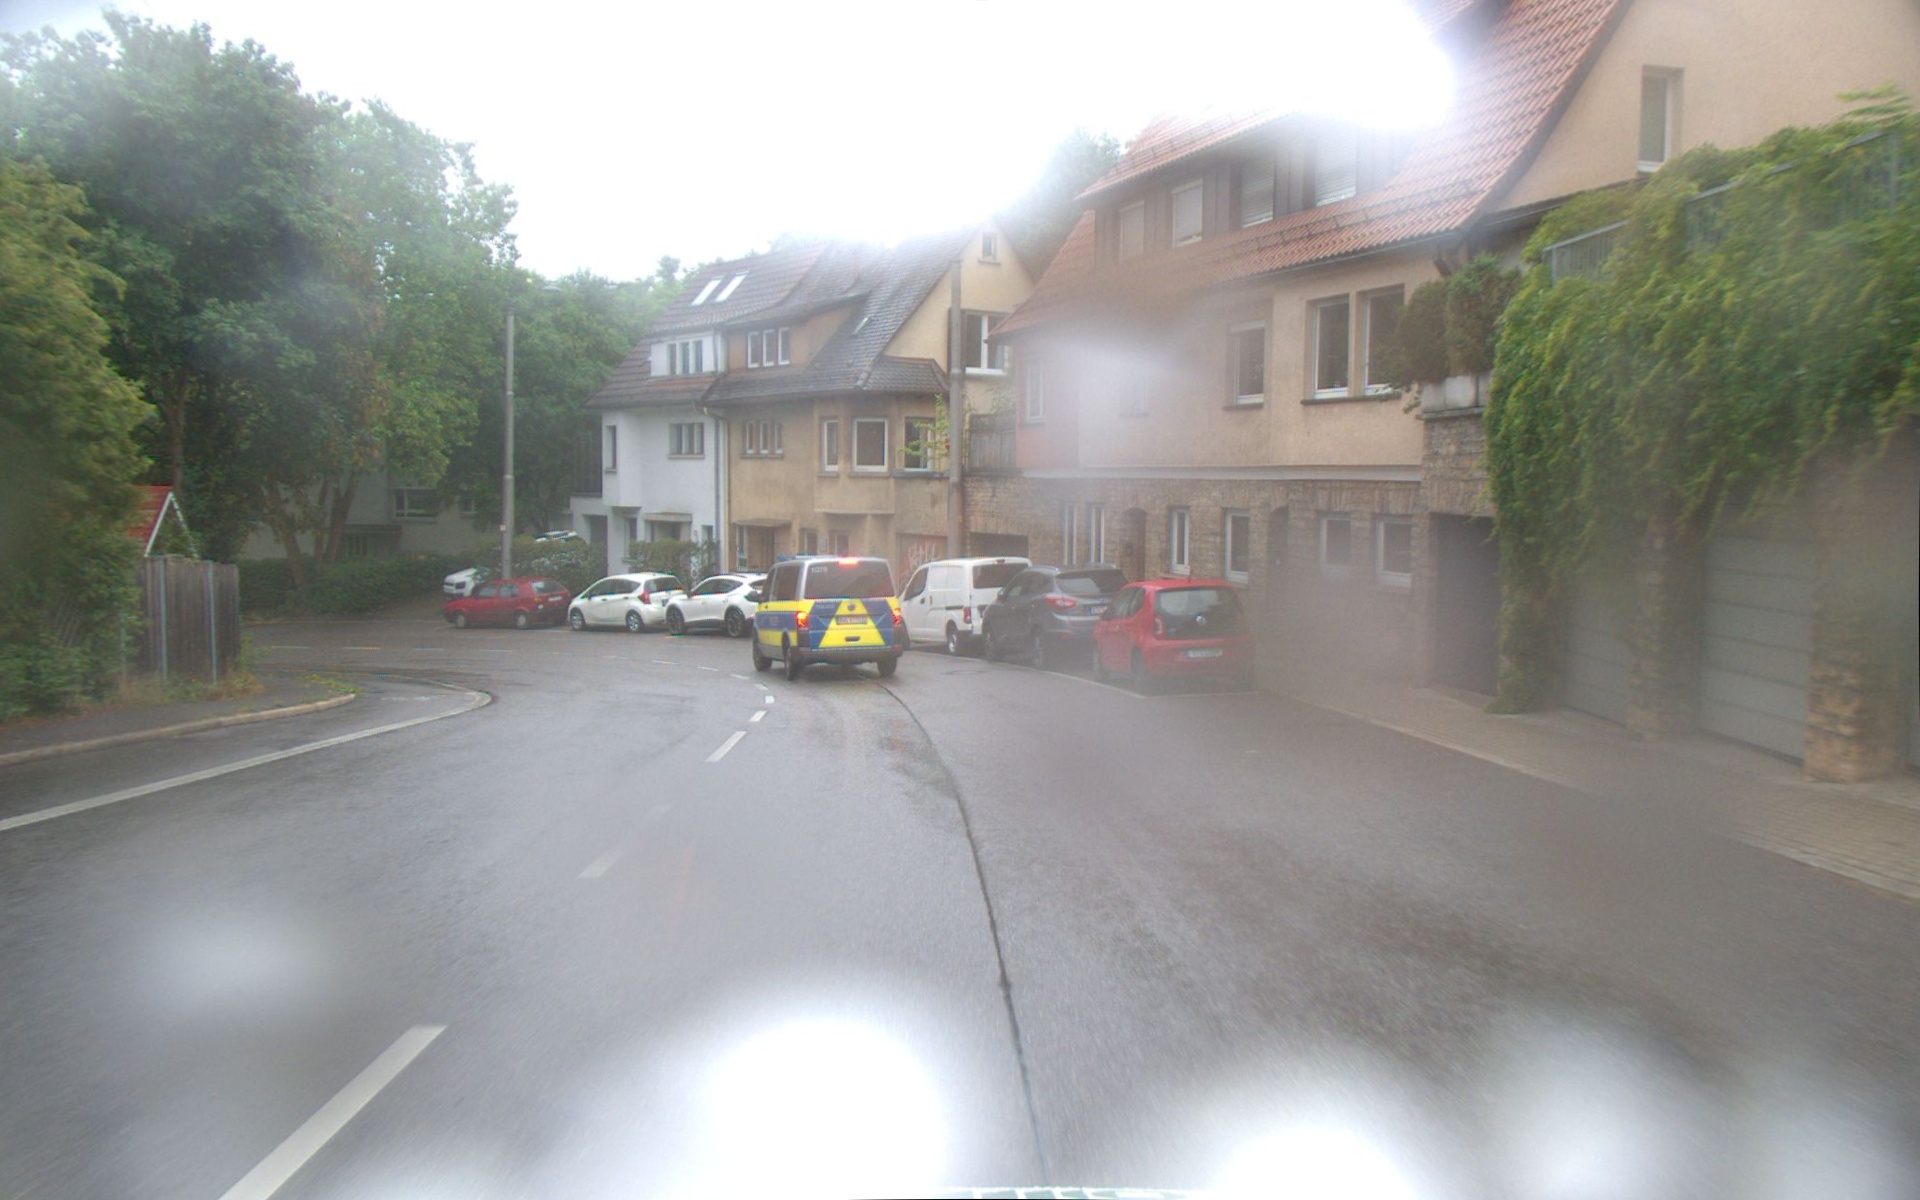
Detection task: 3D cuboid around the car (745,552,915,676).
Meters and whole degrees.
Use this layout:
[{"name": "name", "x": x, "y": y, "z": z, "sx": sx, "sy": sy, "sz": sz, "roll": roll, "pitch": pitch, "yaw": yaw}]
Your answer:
[{"name": "car", "x": -2.345, "y": 0.240, "z": 28.626, "sx": 1.962, "sy": 1.926, "sz": 4.548, "roll": -1, "pitch": 0, "yaw": -17}]

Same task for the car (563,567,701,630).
[{"name": "car", "x": -9.039, "y": -0.021, "z": 45.453, "sx": 3.754, "sy": 1.541, "sz": 1.761, "roll": -1, "pitch": 3, "yaw": 42}]

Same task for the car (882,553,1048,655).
[{"name": "car", "x": 0.013, "y": 0.023, "z": 33.349, "sx": 1.683, "sy": 1.821, "sz": 4.294, "roll": -5, "pitch": 3, "yaw": -24}]

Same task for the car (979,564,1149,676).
[{"name": "car", "x": 1.689, "y": 0.263, "z": 28.426, "sx": 1.588, "sy": 1.632, "sz": 4.396, "roll": -4, "pitch": 3, "yaw": -14}]

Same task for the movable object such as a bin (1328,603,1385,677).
[{"name": "movable object such as a bin", "x": 5.441, "y": 0.539, "z": 22.707, "sx": 0.576, "sy": 0.939, "sz": 0.507, "roll": -4, "pitch": 2, "yaw": -8}]

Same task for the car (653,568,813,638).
[{"name": "car", "x": -5.839, "y": 0.079, "z": 42.203, "sx": 1.904, "sy": 1.564, "sz": 4.347, "roll": -6, "pitch": 3, "yaw": -42}]

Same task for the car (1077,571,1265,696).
[{"name": "car", "x": 2.898, "y": 0.398, "z": 23.443, "sx": 1.586, "sy": 1.460, "sz": 3.573, "roll": -4, "pitch": 3, "yaw": -10}]

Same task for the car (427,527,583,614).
[{"name": "car", "x": -15.015, "y": -1.018, "z": 54.668, "sx": 4.364, "sy": 1.870, "sz": 1.978, "roll": -15, "pitch": 11, "yaw": -31}]

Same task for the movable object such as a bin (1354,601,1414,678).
[{"name": "movable object such as a bin", "x": 5.638, "y": 0.520, "z": 22.006, "sx": 0.584, "sy": 0.939, "sz": 0.513, "roll": -4, "pitch": 2, "yaw": -8}]

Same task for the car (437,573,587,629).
[{"name": "car", "x": -13.105, "y": 0.047, "z": 48.391, "sx": 4.103, "sy": 1.390, "sz": 1.784, "roll": -2, "pitch": 3, "yaw": 29}]
